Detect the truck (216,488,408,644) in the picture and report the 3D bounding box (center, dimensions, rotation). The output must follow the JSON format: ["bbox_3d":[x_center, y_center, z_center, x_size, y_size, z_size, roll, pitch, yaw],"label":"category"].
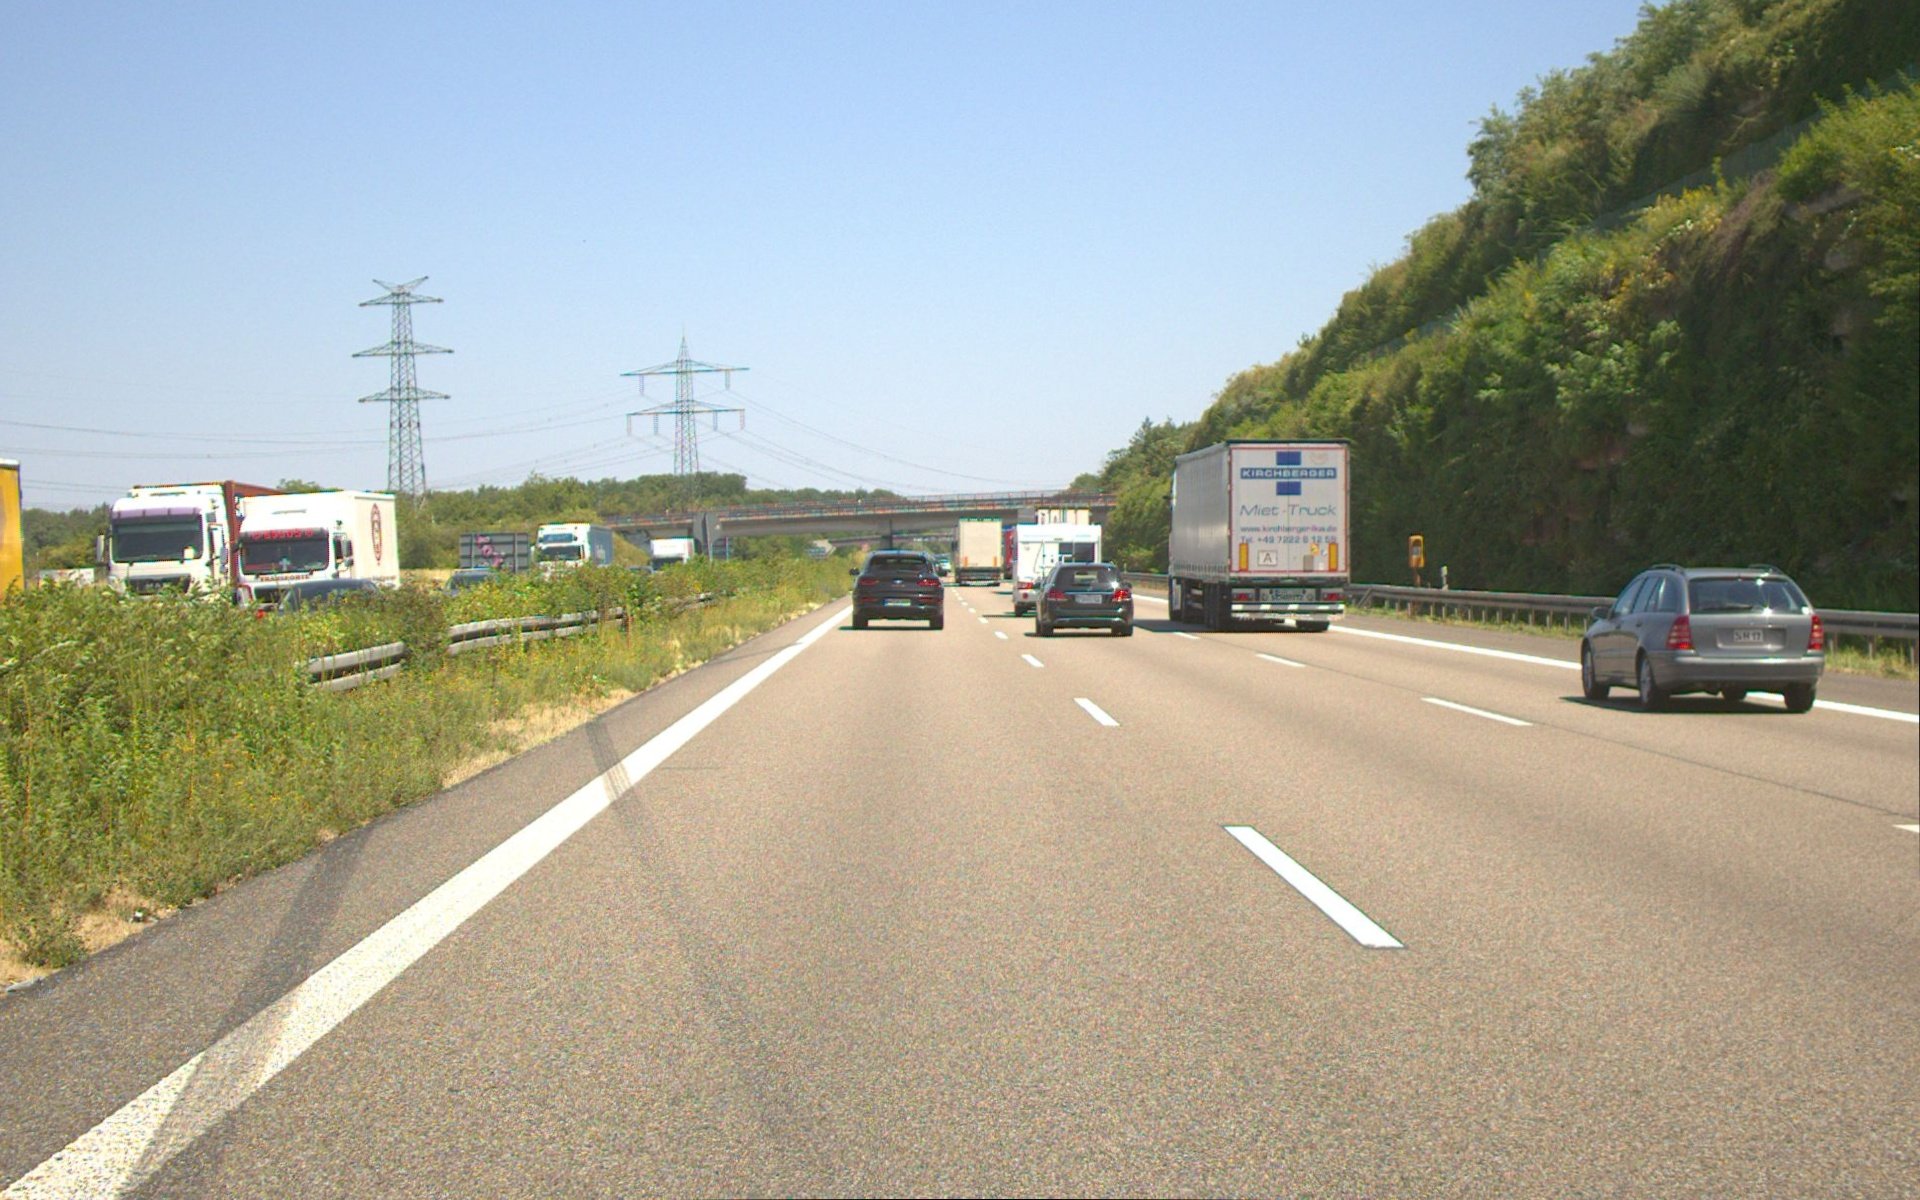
[{"bbox_3d":[-15.144,-0.815,81.051,2.936,3.401,9.367,-1,1,-2],"label":"truck"}]

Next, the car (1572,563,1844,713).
[{"bbox_3d":[7.553,0.341,35.106,1.684,1.423,4.454,0,1,-2],"label":"car"}]

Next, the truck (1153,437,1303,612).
[{"bbox_3d":[6.560,-1.835,84.875,3.135,4.127,5.504,-1,1,-1],"label":"truck"}]

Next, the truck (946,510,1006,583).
[{"bbox_3d":[0.962,-3.274,211.161,3.409,4.265,10.608,-1,1,-1],"label":"truck"}]

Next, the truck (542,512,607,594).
[{"bbox_3d":[-19.723,-2.402,176.313,2.696,4.055,5.802,-1,1,-1],"label":"truck"}]

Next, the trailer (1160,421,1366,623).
[{"bbox_3d":[6.671,-1.717,78.049,3.183,4.107,13.432,-1,1,-1],"label":"trailer"}]

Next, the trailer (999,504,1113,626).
[{"bbox_3d":[2.624,-0.996,96.690,2.610,3.202,9.953,-1,1,-2],"label":"trailer"}]

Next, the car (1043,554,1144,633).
[{"bbox_3d":[2.665,-0.151,69.581,1.830,1.520,4.000,-1,1,0],"label":"car"}]

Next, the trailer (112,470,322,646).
[{"bbox_3d":[-19.424,-1.091,90.785,3.193,4.291,12.272,1,1,-2],"label":"trailer"}]

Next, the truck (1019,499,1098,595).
[{"bbox_3d":[4.570,-2.488,161.468,3.119,4.265,11.934,-1,1,-1],"label":"truck"}]

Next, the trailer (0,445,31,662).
[{"bbox_3d":[-18.865,-0.751,57.752,2.849,3.964,14.144,-1,1,-1],"label":"trailer"}]

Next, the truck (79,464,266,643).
[{"bbox_3d":[-19.205,-1.137,84.215,3.212,4.144,6.440,-1,1,-2],"label":"truck"}]

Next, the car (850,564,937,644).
[{"bbox_3d":[-1.473,0.067,75.842,1.830,1.665,4.000,-1,1,-1],"label":"car"}]
